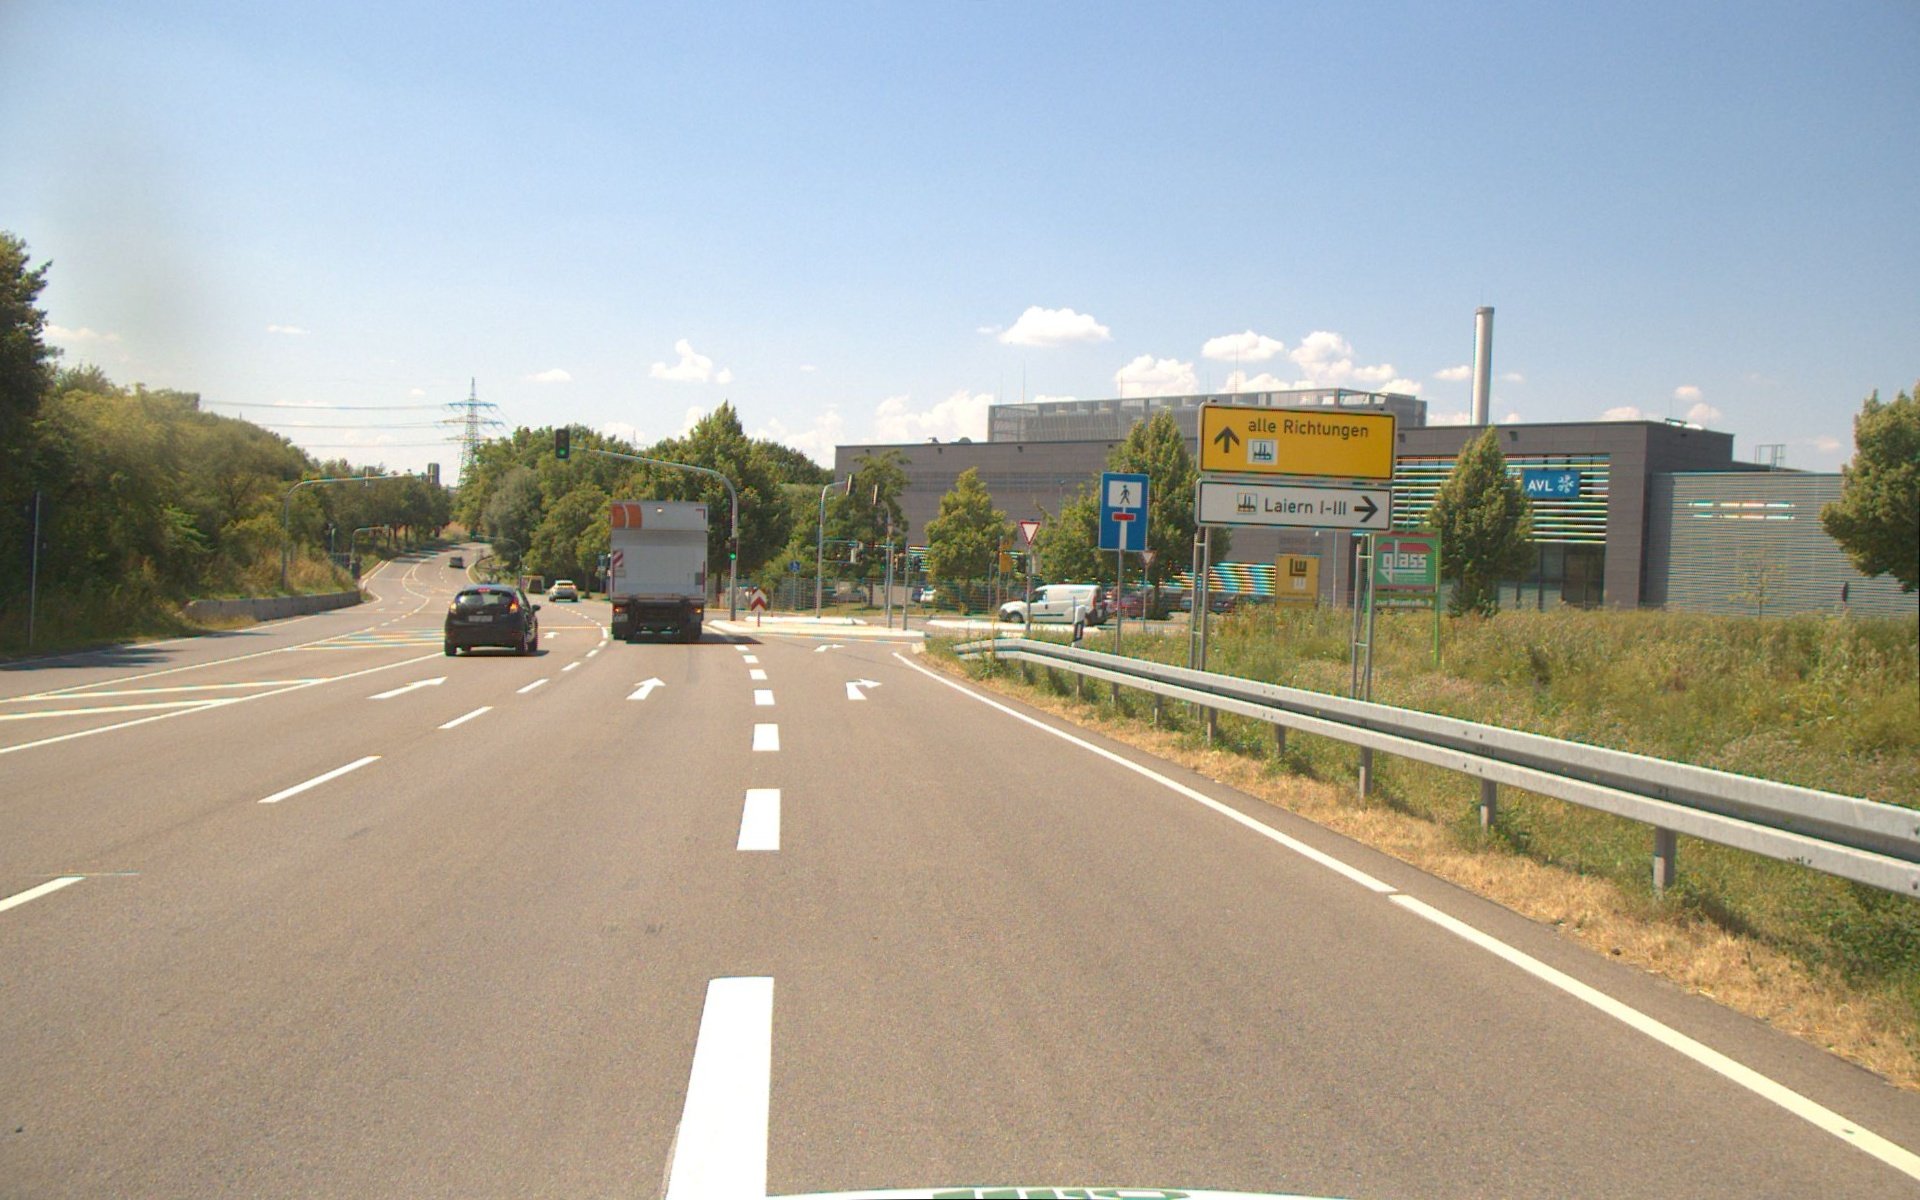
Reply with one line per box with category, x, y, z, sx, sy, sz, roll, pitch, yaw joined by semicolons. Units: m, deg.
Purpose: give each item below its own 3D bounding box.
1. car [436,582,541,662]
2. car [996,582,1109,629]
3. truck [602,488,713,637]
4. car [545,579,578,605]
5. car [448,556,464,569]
car;-10.229;0.431;36.154;1.622;1.519;4.200;1;2;-8
car;4.098;0.236;73.319;4.644;1.966;2.155;1;0;15
truck;-8.647;-1.061;47.046;2.753;3.775;9.084;1;1;-11
car;-28.688;-0.593;119.000;1.913;1.693;3.981;4;0;-18
car;-72.895;-5.439;239.198;1.959;1.713;3.987;1;0;-13
